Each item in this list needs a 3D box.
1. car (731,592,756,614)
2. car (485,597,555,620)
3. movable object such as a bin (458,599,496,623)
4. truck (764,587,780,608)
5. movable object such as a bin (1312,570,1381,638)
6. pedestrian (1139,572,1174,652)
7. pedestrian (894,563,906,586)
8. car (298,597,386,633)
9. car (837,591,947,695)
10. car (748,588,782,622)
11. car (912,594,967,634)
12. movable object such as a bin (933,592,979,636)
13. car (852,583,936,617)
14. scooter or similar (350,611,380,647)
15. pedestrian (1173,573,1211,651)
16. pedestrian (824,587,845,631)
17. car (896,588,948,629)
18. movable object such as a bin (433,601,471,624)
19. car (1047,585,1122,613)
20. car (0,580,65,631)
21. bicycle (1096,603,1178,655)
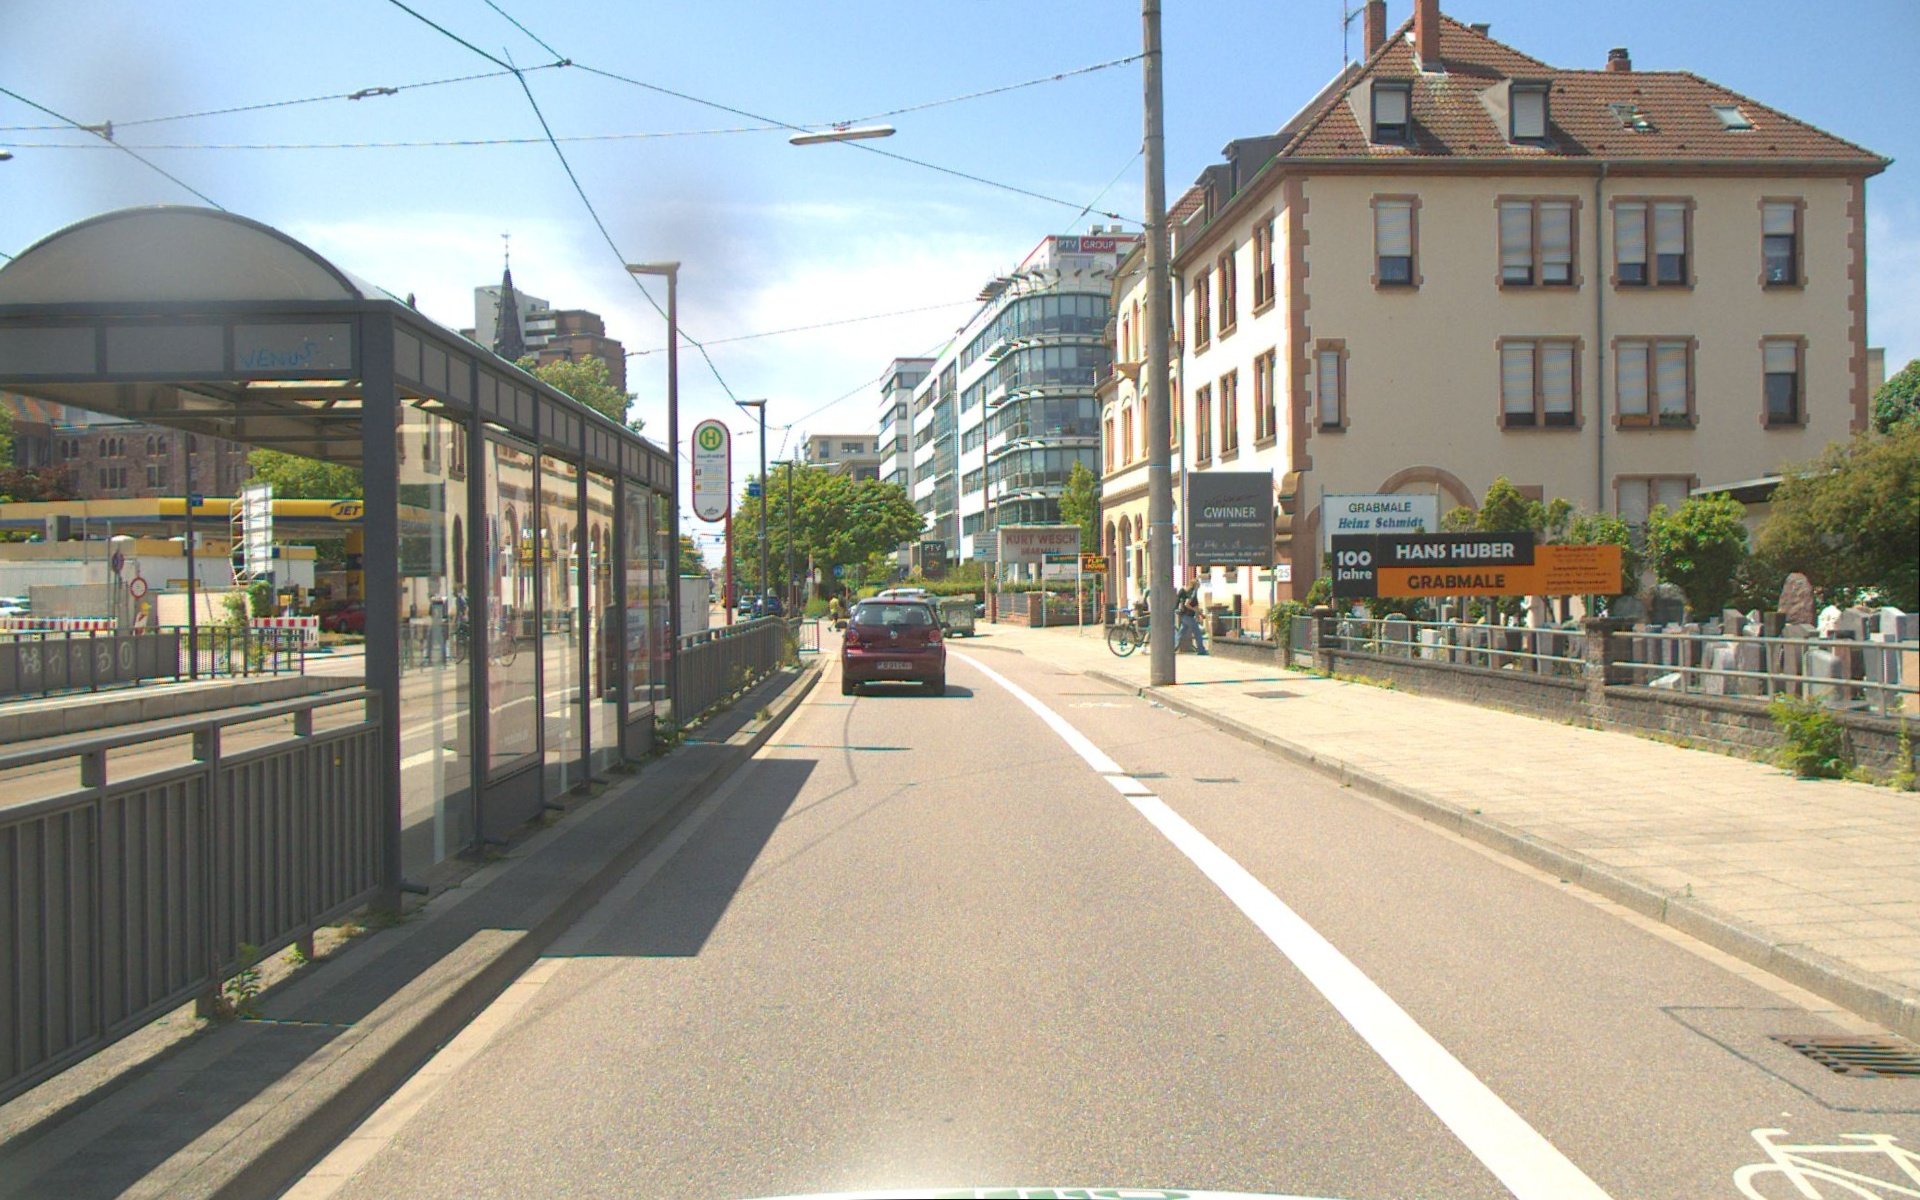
[{"bbox_3d":[-17.662,0.233,135.112,1.956,1.769,3.993,-1,0,-8],"label":"car"},{"bbox_3d":[-29.381,0.562,110.598,1.894,1.514,4.441,1,0,31],"label":"car"},{"bbox_3d":[-31.686,0.706,108.496,1.489,1.536,2.101,1,0,16],"label":"movable object such as a bin"},{"bbox_3d":[-24.449,-0.342,214.776,1.956,2.708,4.865,1,0,-9],"label":"truck"},{"bbox_3d":[9.121,0.092,39.069,1.303,1.525,1.046,-2,0,-3],"label":"movable object such as a bin"},{"bbox_3d":[4.516,0.271,37.983,0.674,1.803,0.503,-1,0,25],"label":"pedestrian"},{"bbox_3d":[-4.840,-2.068,133.826,0.856,1.745,1.090,-2,0,1],"label":"pedestrian"},{"bbox_3d":[-29.095,0.697,77.993,1.787,1.531,4.203,1,2,15],"label":"car"},{"bbox_3d":[-1.012,0.618,26.293,1.586,1.512,4.000,1,0,0],"label":"car"},{"bbox_3d":[-12.321,0.290,104.258,1.957,2.049,3.992,1,0,-9],"label":"car"},{"bbox_3d":[-0.922,0.589,70.549,1.739,1.575,4.459,-3,0,-8],"label":"car"},{"bbox_3d":[-0.145,0.497,59.146,1.367,1.480,1.136,-3,0,-12],"label":"movable object such as a bin"},{"bbox_3d":[-3.692,-0.016,92.177,4.455,1.831,1.995,-1,0,-10],"label":"car"},{"bbox_3d":[-21.784,1.051,60.565,0.337,1.286,1.242,0,0,16],"label":"scooter or similar"},{"bbox_3d":[5.140,0.260,36.681,0.806,1.720,0.589,-1,0,7],"label":"pedestrian"},{"bbox_3d":[-5.812,0.424,76.609,0.770,1.994,0.586,-1,0,-24],"label":"pedestrian"},{"bbox_3d":[-1.801,0.370,76.866,1.888,1.722,5.074,-3,0,-7],"label":"car"},{"bbox_3d":[-33.501,0.816,109.028,1.489,1.457,2.101,1,0,16],"label":"movable object such as a bin"},{"bbox_3d":[7.138,-0.054,95.111,4.067,1.485,1.816,-1,0,-5],"label":"car"},{"bbox_3d":[-34.685,0.183,59.510,4.173,1.777,1.893,1,0,15],"label":"car"},{"bbox_3d":[4.035,0.661,37.722,1.767,1.147,0.589,-1,0,29],"label":"bicycle"}]
